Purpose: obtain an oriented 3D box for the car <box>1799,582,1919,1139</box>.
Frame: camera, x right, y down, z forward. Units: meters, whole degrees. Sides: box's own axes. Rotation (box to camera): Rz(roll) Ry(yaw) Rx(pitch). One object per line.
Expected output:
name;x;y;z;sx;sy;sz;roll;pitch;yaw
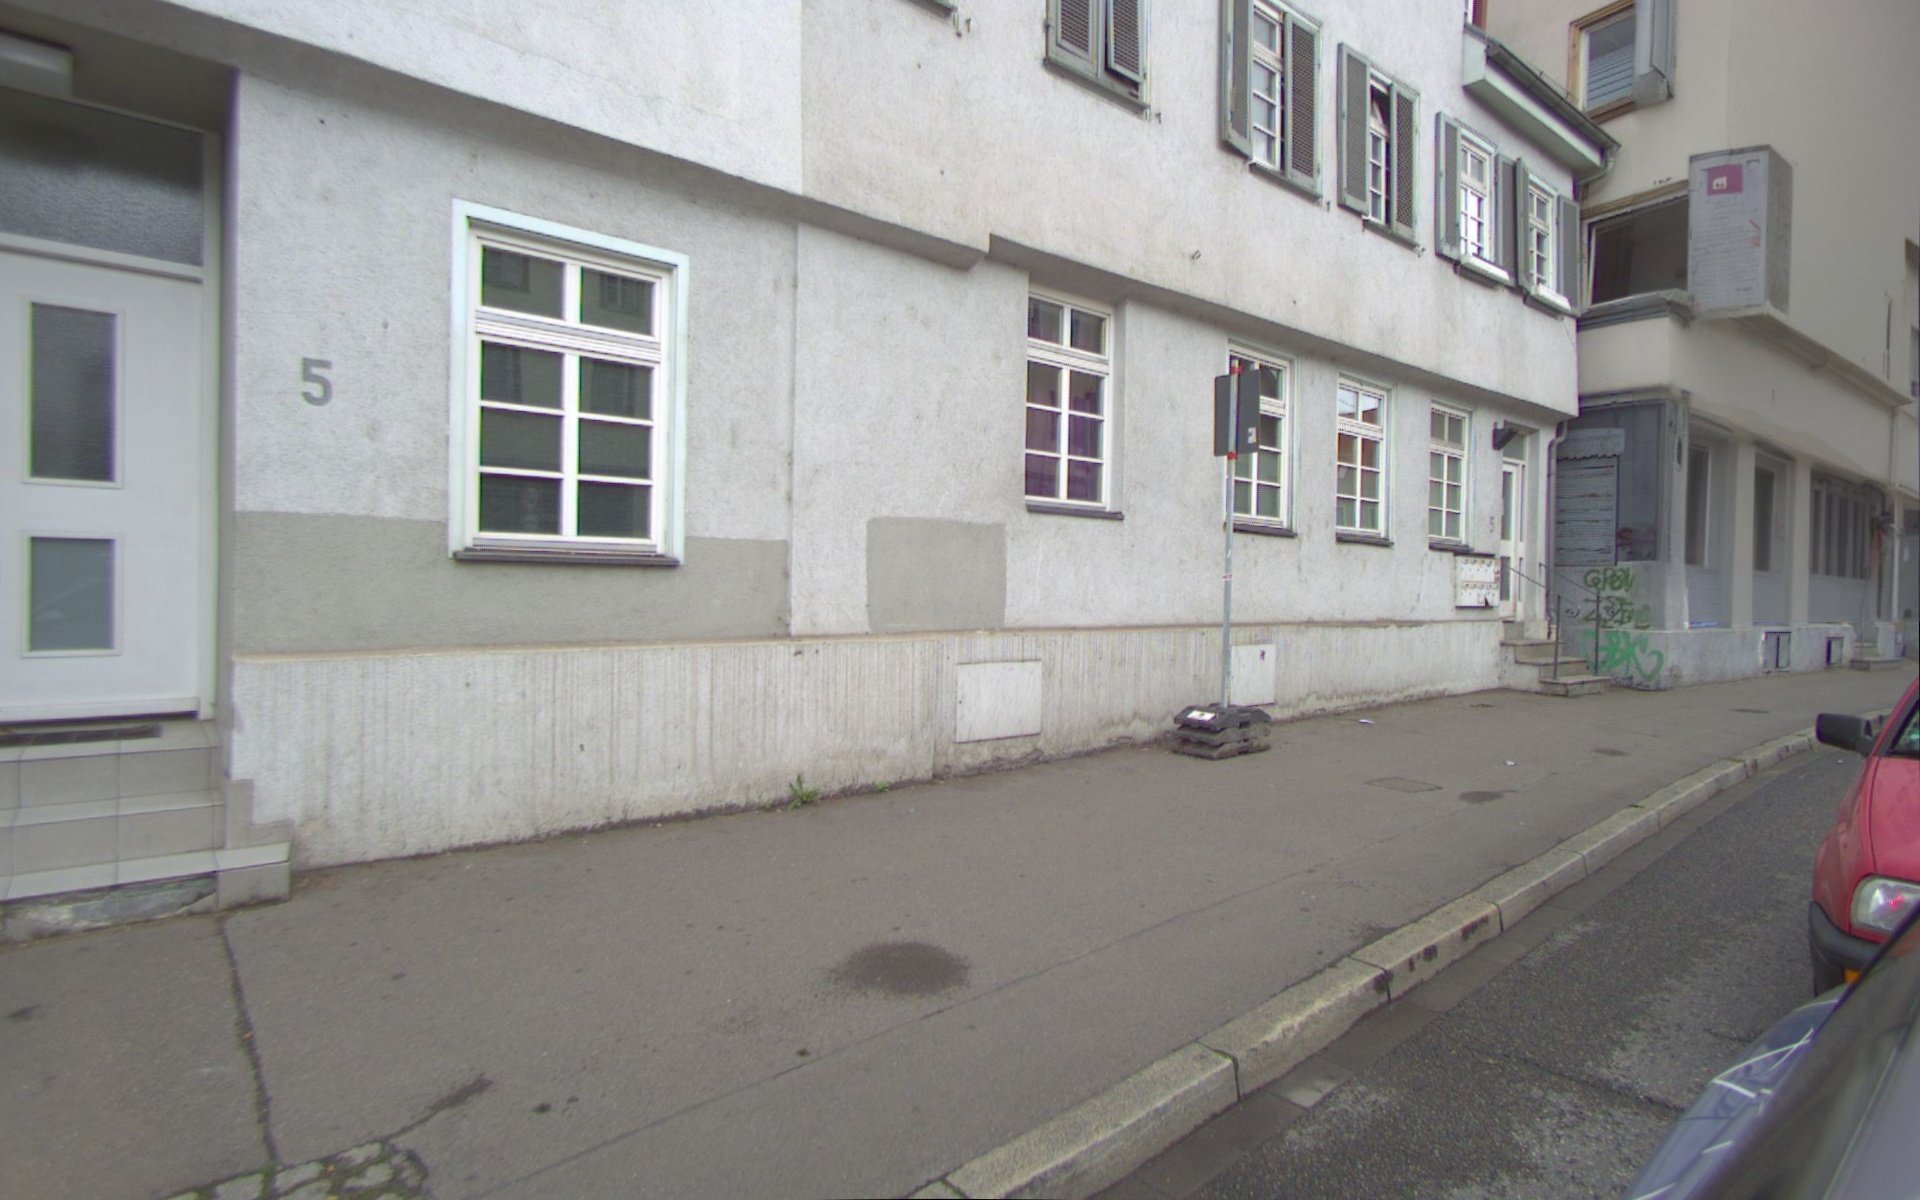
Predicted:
car;4.428;0.676;3.523;3.932;1.443;1.790;-2;2;-42
